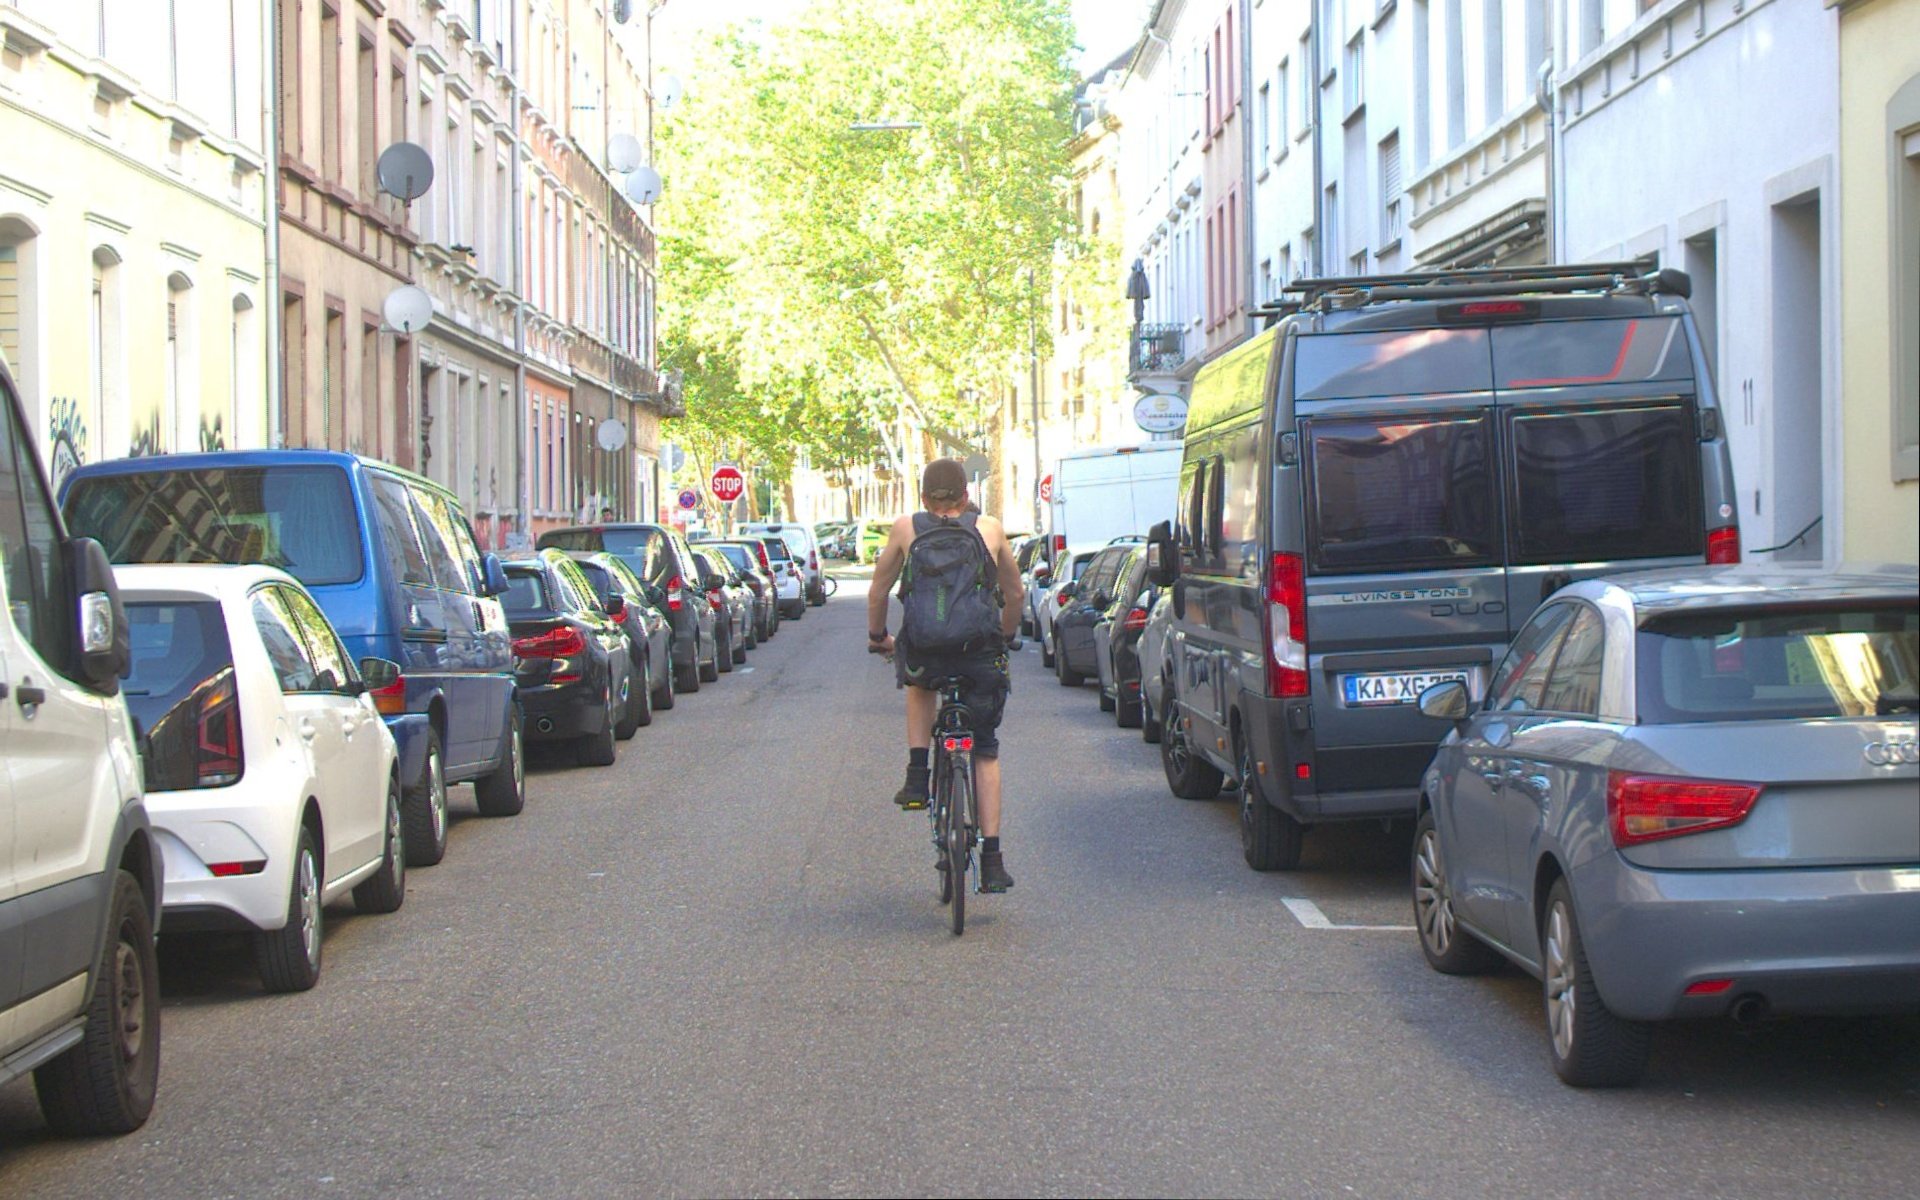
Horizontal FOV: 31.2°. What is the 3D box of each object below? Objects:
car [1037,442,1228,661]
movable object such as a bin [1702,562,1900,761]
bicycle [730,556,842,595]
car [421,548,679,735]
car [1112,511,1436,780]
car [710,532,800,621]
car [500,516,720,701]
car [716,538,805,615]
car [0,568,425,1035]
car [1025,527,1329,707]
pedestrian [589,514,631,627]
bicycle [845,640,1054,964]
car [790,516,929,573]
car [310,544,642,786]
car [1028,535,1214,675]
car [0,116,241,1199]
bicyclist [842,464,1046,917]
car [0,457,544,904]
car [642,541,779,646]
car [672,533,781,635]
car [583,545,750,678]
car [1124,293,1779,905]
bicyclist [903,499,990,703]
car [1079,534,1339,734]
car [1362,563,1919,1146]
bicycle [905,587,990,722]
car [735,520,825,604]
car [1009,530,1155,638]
[{"bbox_3d":[2.114,-0.646,43.746,2.204,2.542,6.036,-1,1,1],"label":"car"},{"bbox_3d":[4.764,0.340,19.522,0.863,1.039,0.708,-4,1,-2],"label":"movable object such as a bin"},{"bbox_3d":[-4.278,-0.602,84.375,2.715,0.889,0.619,-1,1,-3],"label":"bicycle"},{"bbox_3d":[-3.427,0.300,29.385,1.736,1.422,4.000,-1,1,-1],"label":"car"},{"bbox_3d":[2.064,0.240,23.727,1.693,1.602,4.375,-3,1,-1],"label":"car"},{"bbox_3d":[-3.747,-0.455,62.689,1.544,1.545,3.466,-1,1,-4],"label":"car"},{"bbox_3d":[-3.530,0.043,35.341,1.801,1.692,4.000,-3,1,-1],"label":"car"},{"bbox_3d":[-3.830,-0.466,66.454,1.552,1.395,3.668,-1,1,-1],"label":"car"},{"bbox_3d":[-3.094,0.644,13.038,1.645,1.442,3.840,-1,1,-2],"label":"car"},{"bbox_3d":[2.006,0.102,33.262,1.811,1.473,4.610,-4,2,-10],"label":"car"},{"bbox_3d":[-5.806,-0.489,57.017,0.610,1.851,0.754,1,1,-1],"label":"pedestrian"},{"bbox_3d":[-0.057,0.739,13.382,0.740,1.097,2.042,1,1,-1],"label":"bicycle"},{"bbox_3d":[-3.353,-1.842,114.204,4.468,1.753,1.867,-2,1,-5],"label":"car"},{"bbox_3d":[-3.311,0.379,24.324,1.862,1.435,4.646,-1,2,-3],"label":"car"},{"bbox_3d":[1.744,0.015,38.313,1.725,1.424,3.833,-1,1,-2],"label":"car"},{"bbox_3d":[-3.117,0.216,6.973,2.168,2.443,5.922,-2,1,-2],"label":"car"},{"bbox_3d":[-0.070,0.326,13.306,0.740,1.673,1.117,1,1,-1],"label":"bicyclist"},{"bbox_3d":[-3.361,0.309,17.627,1.827,1.885,4.614,-4,1,0],"label":"car"},{"bbox_3d":[-3.606,-0.121,50.357,1.706,1.409,4.302,-1,1,-1],"label":"car"},{"bbox_3d":[-3.727,-0.280,55.314,1.604,1.525,3.379,-2,1,-2],"label":"car"},{"bbox_3d":[-3.397,0.098,40.323,1.592,1.435,3.654,-1,1,0],"label":"car"},{"bbox_3d":[2.167,-0.072,17.241,2.175,2.417,6.310,-2,1,-1],"label":"car"},{"bbox_3d":[-0.117,-0.004,28.582,0.669,1.653,0.877,-1,1,-1],"label":"bicyclist"},{"bbox_3d":[1.982,0.220,28.479,1.746,1.480,4.243,-1,1,-1],"label":"car"},{"bbox_3d":[2.423,0.633,10.931,1.747,1.439,4.172,-1,1,-1],"label":"car"},{"bbox_3d":[-0.110,0.438,28.644,0.664,1.034,1.959,-1,1,-1],"label":"bicycle"},{"bbox_3d":[-3.893,-0.849,74.886,1.787,1.731,3.876,-1,1,-1],"label":"car"},{"bbox_3d":[1.739,-0.264,50.284,1.731,1.465,4.022,-1,1,-3],"label":"car"}]
